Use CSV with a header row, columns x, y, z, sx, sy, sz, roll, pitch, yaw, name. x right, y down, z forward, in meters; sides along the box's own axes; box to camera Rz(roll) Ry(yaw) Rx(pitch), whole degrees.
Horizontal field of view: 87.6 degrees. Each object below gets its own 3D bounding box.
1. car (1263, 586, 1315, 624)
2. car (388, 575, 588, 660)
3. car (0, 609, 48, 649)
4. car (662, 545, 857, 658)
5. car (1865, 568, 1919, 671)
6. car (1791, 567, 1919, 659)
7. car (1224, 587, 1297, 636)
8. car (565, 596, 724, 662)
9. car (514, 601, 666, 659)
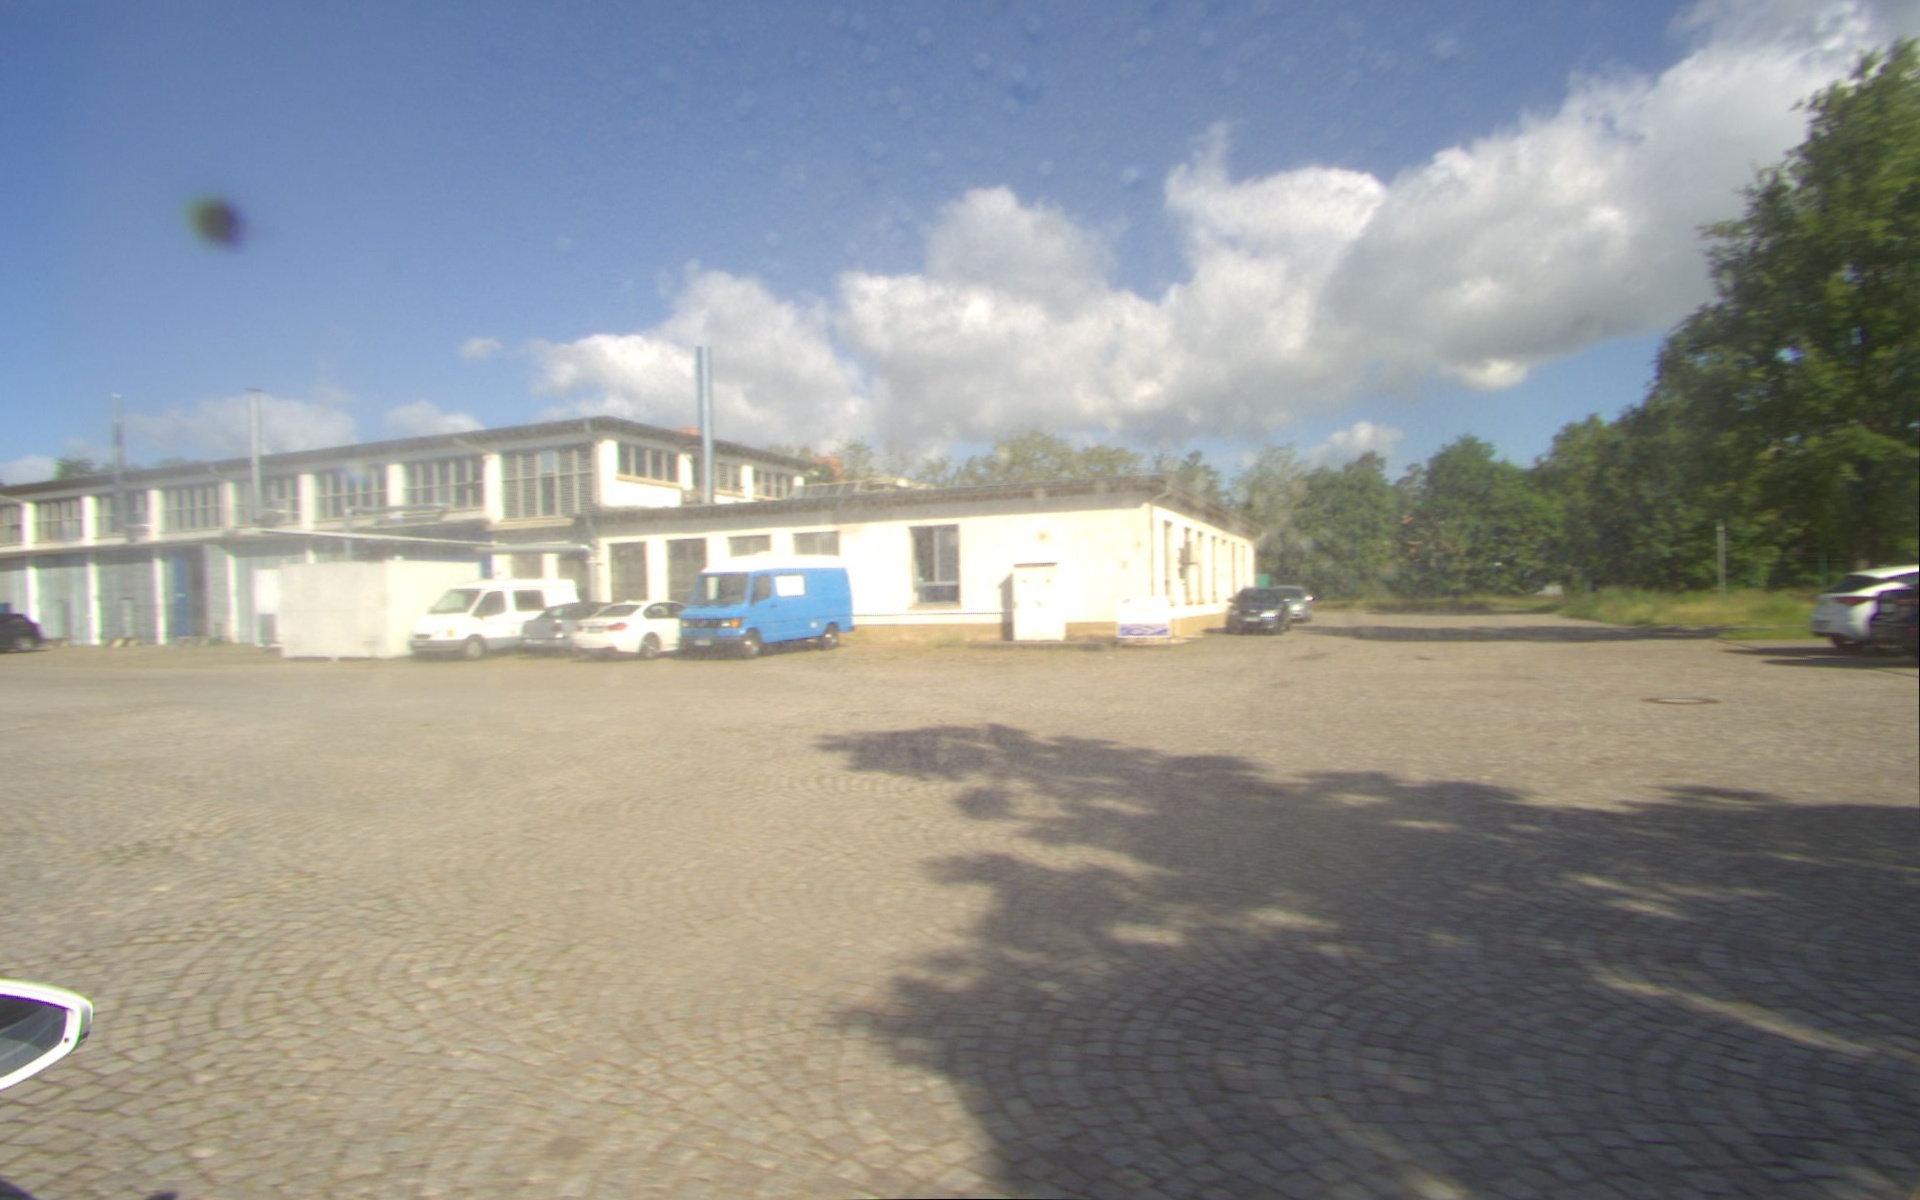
x,y,z,sx,sy,sz,roll,pitch,yaw,name
13.493,0.180,40.968,1.664,1.454,3.974,0,1,24,car
-12.911,0.410,27.766,1.978,2.109,4.785,-1,1,26,car
-37.903,1.172,38.324,1.711,1.489,4.065,-1,1,22,car
-4.873,0.029,25.273,2.056,2.516,5.219,-1,0,26,car
15.464,0.183,13.945,3.862,1.436,1.687,-3,0,25,car
16.396,0.151,16.428,3.862,1.454,1.790,-3,0,25,car
9.585,0.319,31.749,1.740,1.454,3.979,0,1,24,car
-7.854,0.678,25.281,1.710,1.425,3.724,-1,1,26,car
-9.973,0.767,27.271,1.665,1.417,3.817,0,1,26,car
